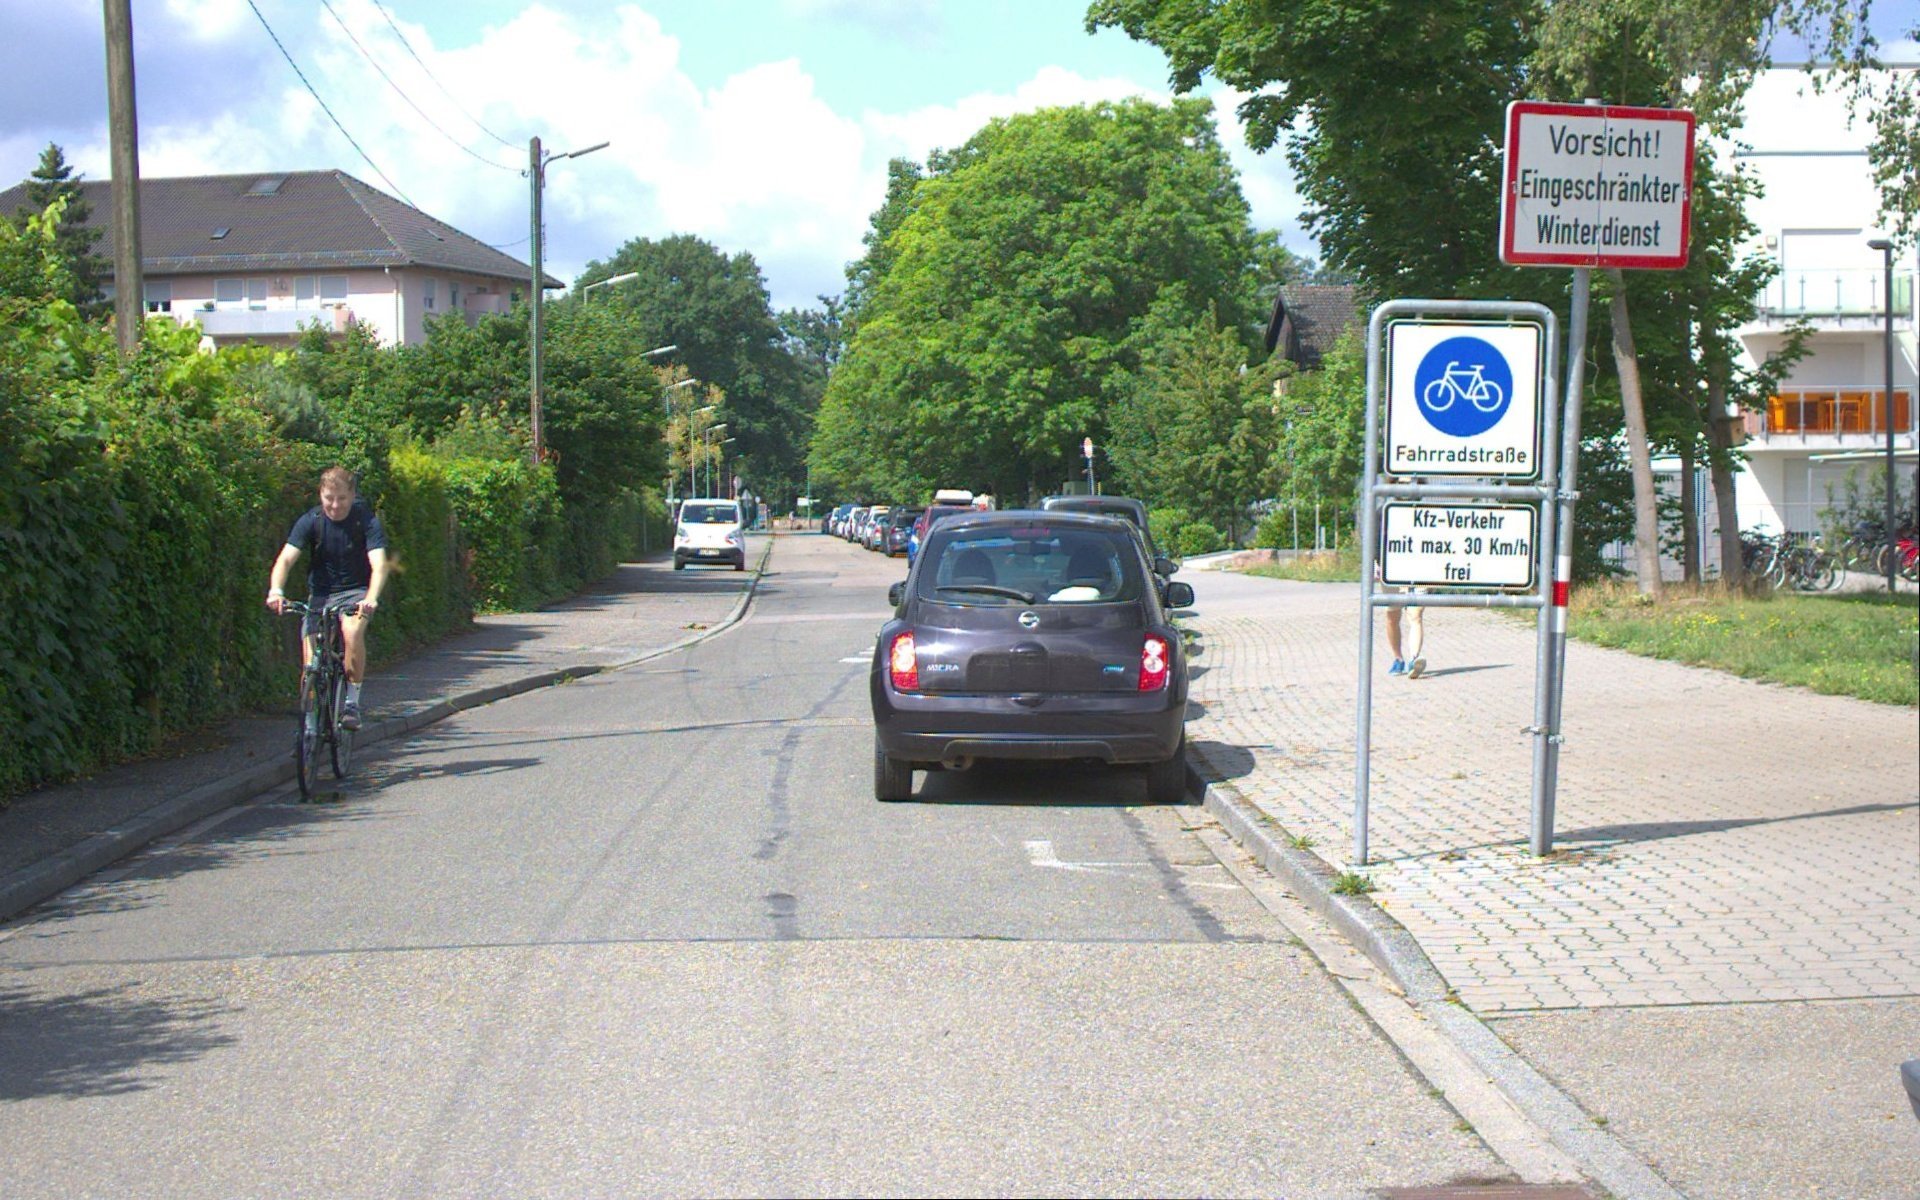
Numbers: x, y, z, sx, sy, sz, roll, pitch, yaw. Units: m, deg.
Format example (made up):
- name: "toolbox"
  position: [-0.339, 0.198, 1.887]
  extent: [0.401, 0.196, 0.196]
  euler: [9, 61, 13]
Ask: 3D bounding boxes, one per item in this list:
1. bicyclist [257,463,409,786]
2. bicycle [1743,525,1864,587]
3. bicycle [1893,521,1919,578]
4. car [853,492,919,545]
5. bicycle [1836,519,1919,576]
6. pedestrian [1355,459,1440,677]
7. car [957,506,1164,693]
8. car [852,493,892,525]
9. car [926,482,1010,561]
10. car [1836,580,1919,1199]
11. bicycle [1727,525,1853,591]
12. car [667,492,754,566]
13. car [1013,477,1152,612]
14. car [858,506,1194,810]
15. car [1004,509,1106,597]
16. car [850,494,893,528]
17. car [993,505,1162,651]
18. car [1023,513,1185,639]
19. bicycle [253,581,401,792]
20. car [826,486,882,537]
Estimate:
- name: "bicyclist"
  position: [-3.704, 0.129, 20.380]
  extent: [0.658, 1.846, 1.043]
  euler: [-2, 1, 0]
- name: "bicycle"
  position: [15.604, -0.810, 63.590]
  extent: [2.047, 1.076, 0.688]
  euler: [-2, 1, 1]
- name: "bicycle"
  position: [18.969, -0.986, 65.736]
  extent: [2.047, 1.076, 0.688]
  euler: [-2, 1, 1]
- name: "car"
  position: [-2.387, -2.652, 112.078]
  extent: [2.058, 1.646, 4.541]
  euler: [1, 1, 0]
- name: "bicycle"
  position: [18.560, -1.055, 68.463]
  extent: [2.047, 1.076, 0.688]
  euler: [-2, 1, 1]
- name: "pedestrian"
  position: [3.570, -0.265, 28.038]
  extent: [0.610, 1.739, 0.721]
  euler: [1, 1, 11]
- name: "car"
  position: [0.956, -0.047, 30.914]
  extent: [1.663, 1.547, 3.637]
  euler: [1, 1, 4]
- name: "car"
  position: [-4.640, -4.806, 181.817]
  extent: [1.852, 1.612, 4.000]
  euler: [1, 1, 2]
- name: "car"
  position: [0.176, -1.992, 87.525]
  extent: [2.058, 1.919, 4.541]
  euler: [1, 1, 0]
- name: "car"
  position: [3.794, 0.642, 5.475]
  extent: [4.358, 1.387, 1.718]
  euler: [-1, 1, 1]
- name: "bicycle"
  position: [14.913, -0.750, 61.812]
  extent: [2.089, 1.115, 0.625]
  euler: [-2, 1, 2]
- name: "car"
  position: [-6.317, -1.816, 87.351]
  extent: [1.902, 1.808, 4.000]
  euler: [1, 1, 0]
- name: "car"
  position: [1.730, -0.798, 48.696]
  extent: [1.874, 1.800, 3.432]
  euler: [1, 1, 2]
- name: "car"
  position: [0.397, 0.246, 19.291]
  extent: [1.663, 1.500, 4.000]
  euler: [1, 1, 2]
- name: "car"
  position: [1.688, -0.872, 62.237]
  extent: [1.678, 1.514, 4.000]
  euler: [1, 1, 0]
- name: "car"
  position: [-4.260, -4.318, 166.712]
  extent: [1.852, 1.612, 4.000]
  euler: [0, 1, 2]
- name: "car"
  position: [1.238, -0.260, 36.343]
  extent: [1.663, 1.434, 3.744]
  euler: [1, 1, 2]
- name: "car"
  position: [1.691, -0.317, 41.372]
  extent: [1.663, 1.430, 3.542]
  euler: [1, 1, -2]
- name: "bicycle"
  position: [-3.742, 0.485, 20.431]
  extent: [0.518, 1.146, 1.827]
  euler: [-2, 2, 0]
- name: "car"
  position: [-4.208, -3.537, 137.122]
  extent: [2.058, 1.955, 4.541]
  euler: [1, 1, 0]
